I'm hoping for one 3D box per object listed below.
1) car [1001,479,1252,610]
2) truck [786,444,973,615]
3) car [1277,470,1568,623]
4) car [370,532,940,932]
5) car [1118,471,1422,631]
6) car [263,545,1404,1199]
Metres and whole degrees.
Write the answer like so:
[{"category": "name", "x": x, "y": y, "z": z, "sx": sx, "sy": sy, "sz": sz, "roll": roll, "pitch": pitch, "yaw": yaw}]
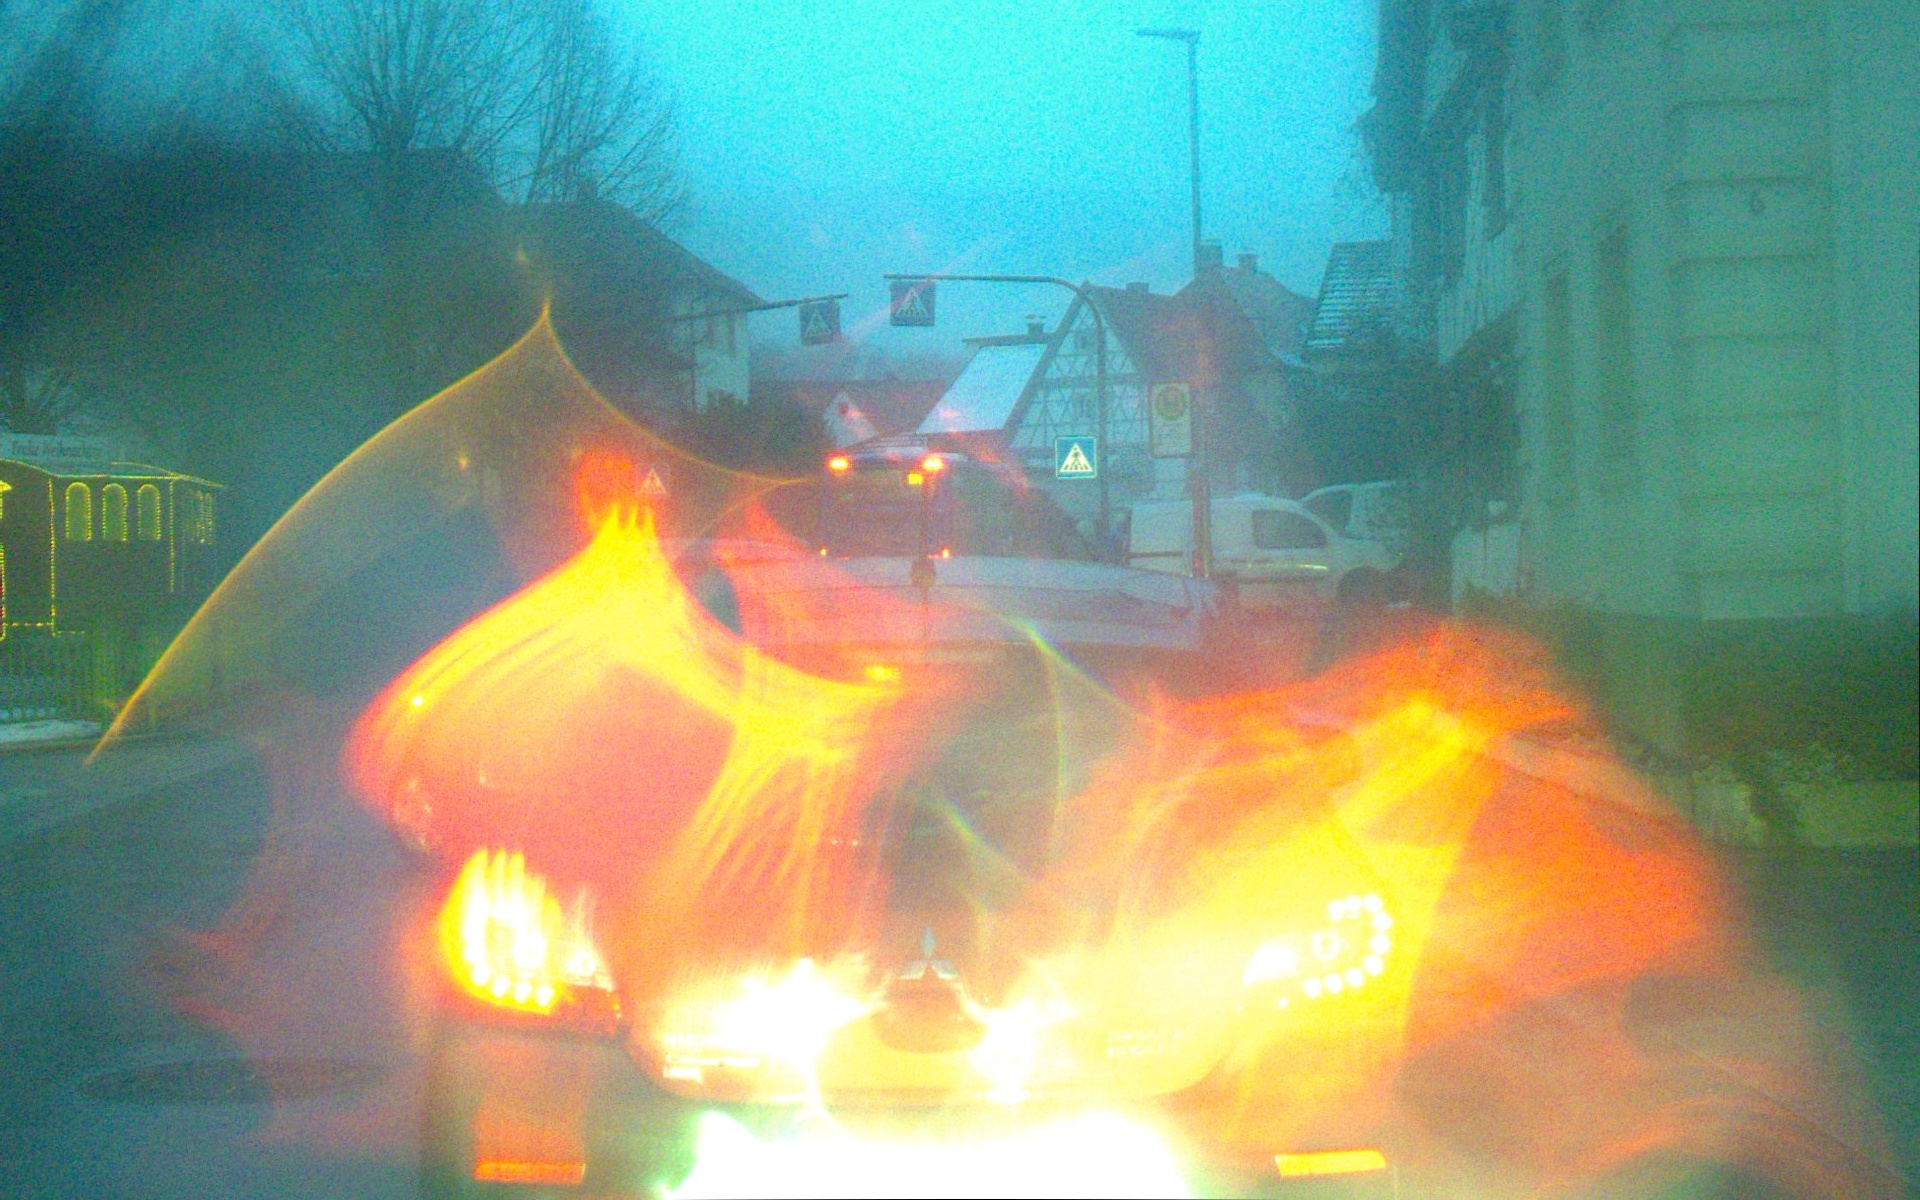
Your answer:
[{"category": "car", "x": 2.848, "y": -0.946, "z": 58.094, "sx": 4.098, "sy": 2.144, "sz": 1.913, "roll": 0, "pitch": 1, "yaw": 7}, {"category": "truck", "x": -1.458, "y": -1.366, "z": 66.660, "sx": 3.016, "sy": 3.118, "sz": 8.000, "roll": 0, "pitch": 1, "yaw": 3}, {"category": "car", "x": 6.702, "y": -0.782, "z": 50.039, "sx": 4.098, "sy": 2.144, "sz": 1.913, "roll": 0, "pitch": 1, "yaw": 7}, {"category": "car", "x": -1.404, "y": 0.460, "z": 14.673, "sx": 1.637, "sy": 1.476, "sz": 3.272, "roll": 0, "pitch": 2, "yaw": -20}, {"category": "car", "x": 4.319, "y": -0.686, "z": 47.776, "sx": 4.098, "sy": 2.155, "sz": 1.913, "roll": 0, "pitch": 1, "yaw": 7}, {"category": "car", "x": -0.198, "y": 0.632, "z": 6.631, "sx": 1.638, "sy": 1.476, "sz": 3.379, "roll": 0, "pitch": 1, "yaw": -1}]
